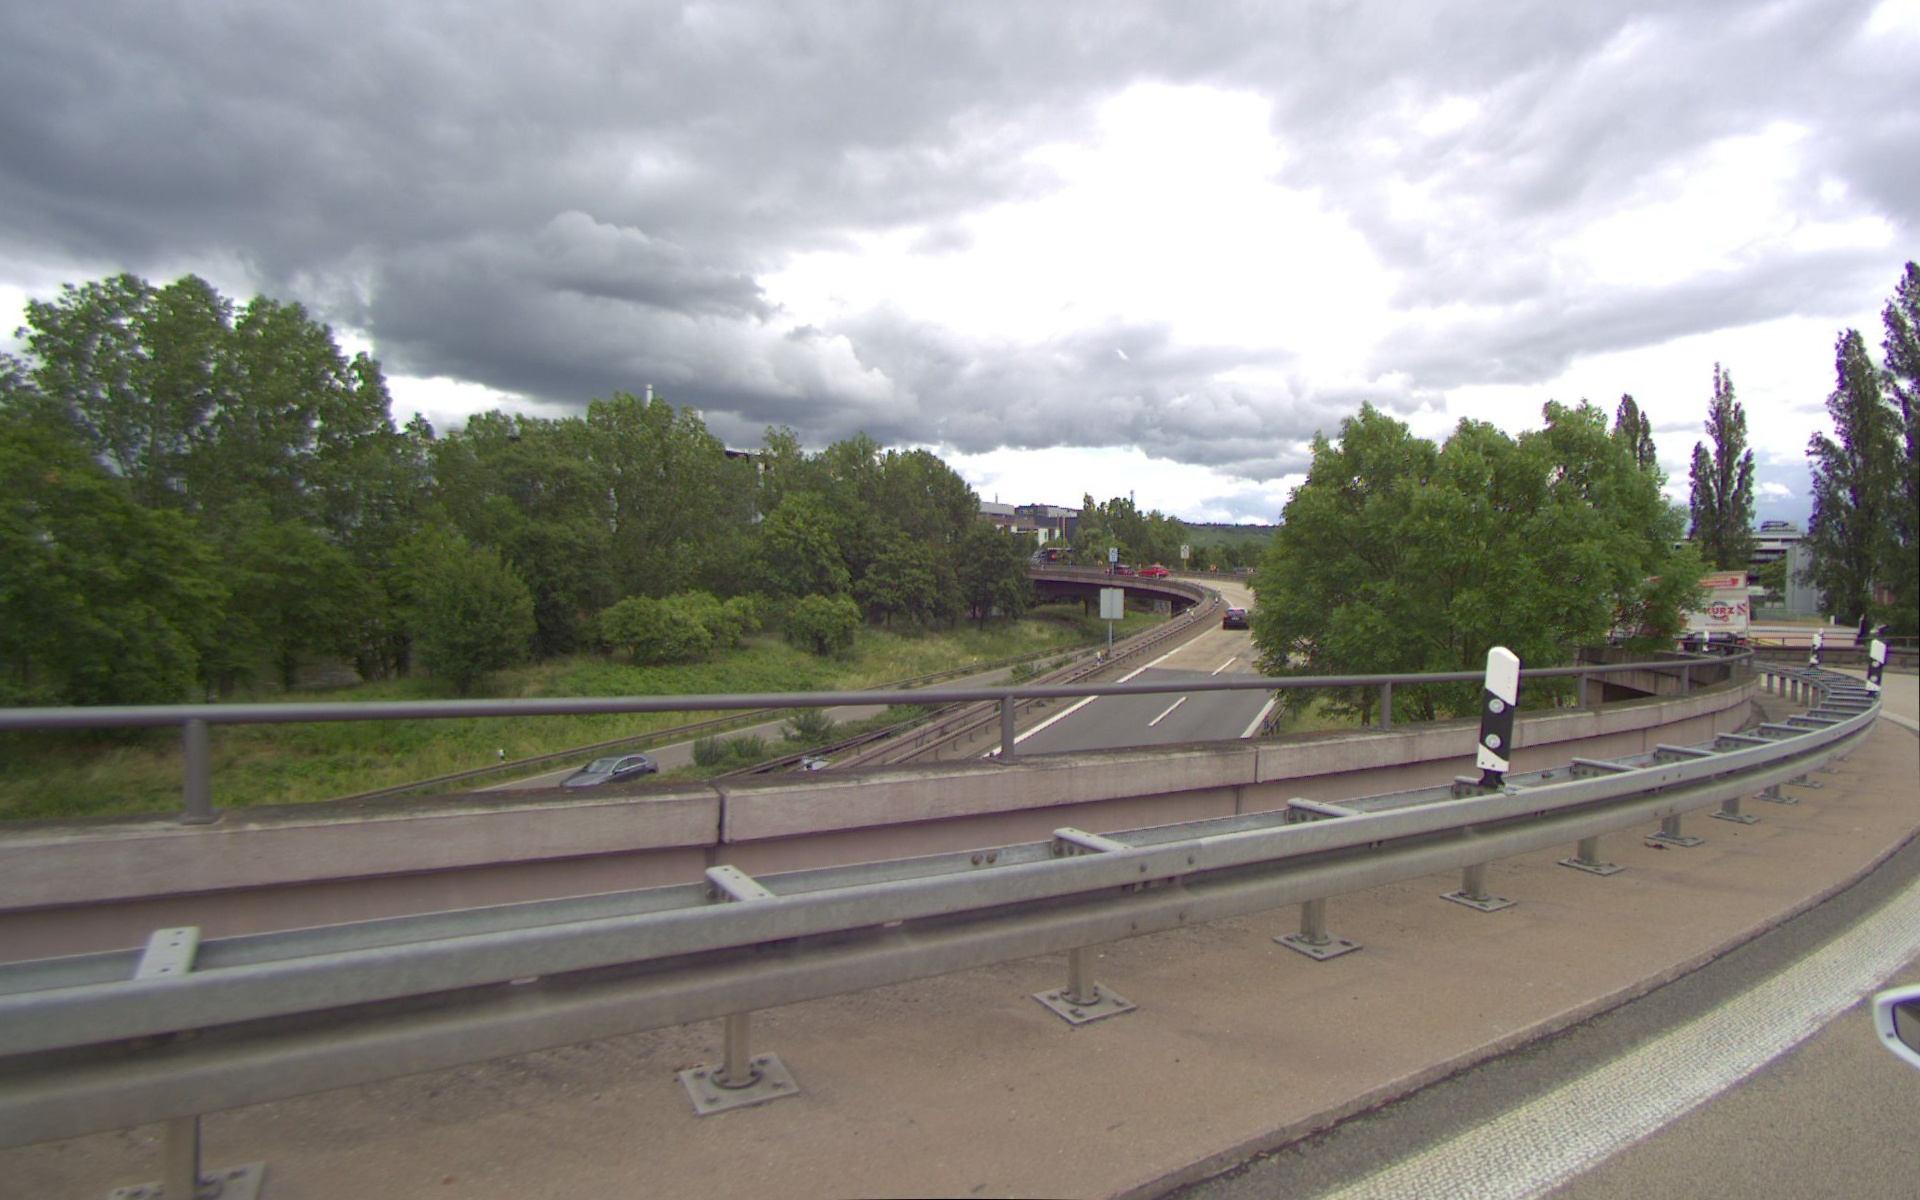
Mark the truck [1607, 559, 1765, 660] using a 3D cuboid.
[{"bbox_3d":[29.713,0.280,41.562,3.000,3.722,7.926,2,1,19],"label":"truck"}]
